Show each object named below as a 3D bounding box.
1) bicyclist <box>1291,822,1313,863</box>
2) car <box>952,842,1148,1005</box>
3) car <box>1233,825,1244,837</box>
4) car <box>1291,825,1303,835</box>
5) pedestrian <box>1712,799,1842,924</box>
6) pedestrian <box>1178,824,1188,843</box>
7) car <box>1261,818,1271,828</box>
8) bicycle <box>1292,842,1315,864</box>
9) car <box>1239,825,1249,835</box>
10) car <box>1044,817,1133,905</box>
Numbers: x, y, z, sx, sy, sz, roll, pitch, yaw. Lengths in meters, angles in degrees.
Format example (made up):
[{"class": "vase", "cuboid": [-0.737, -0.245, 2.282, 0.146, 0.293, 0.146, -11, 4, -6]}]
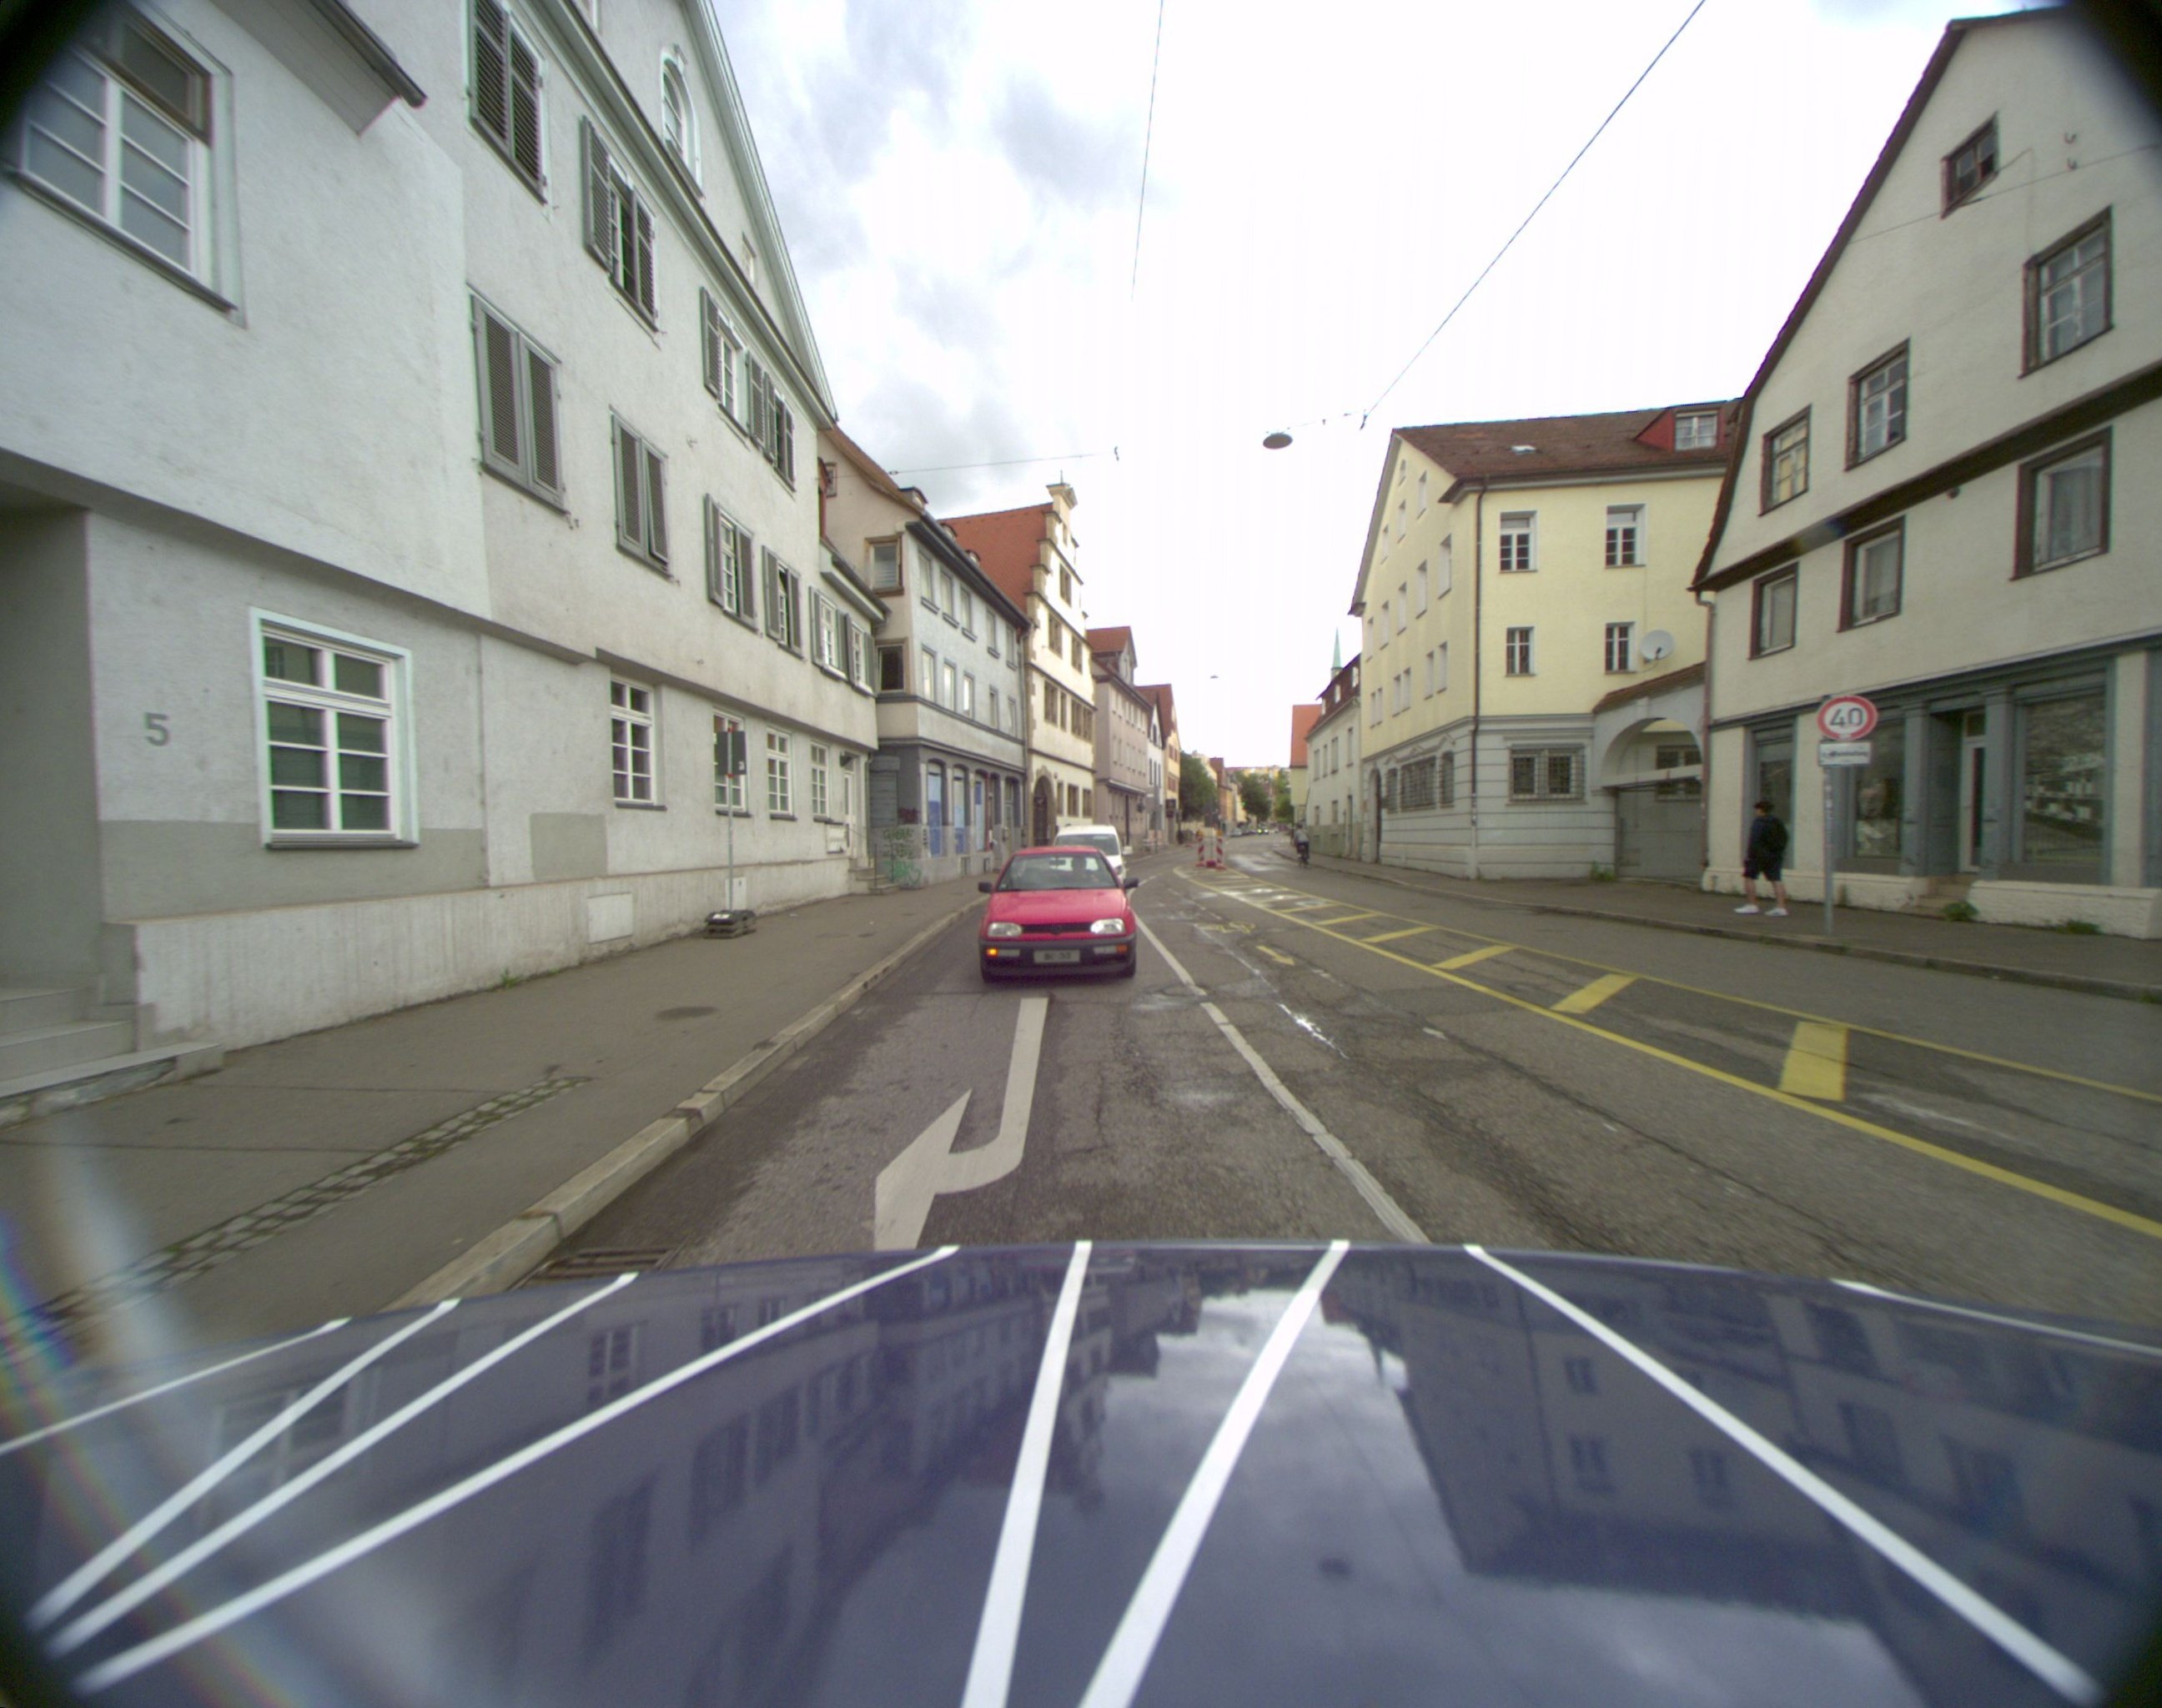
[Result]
[{"class": "bicyclist", "cuboid": [9.182, -0.485, 31.562, 0.725, 1.691, 0.811, 0, 2, 5]}, {"class": "car", "cuboid": [-0.265, 0.639, 9.291, 1.804, 1.458, 3.999, -3, 1, 1]}, {"class": "car", "cuboid": [28.789, -4.195, 138.932, 1.996, 2.002, 4.003, 0, 1, 13]}, {"class": "car", "cuboid": [43.218, -4.829, 151.942, 2.057, 2.002, 4.003, 0, 1, 13]}, {"class": "pedestrian", "cuboid": [11.131, 0.119, 12.209, 1.056, 1.875, 1.092, -2, 0, 4]}, {"class": "pedestrian", "cuboid": [10.495, -2.081, 78.053, 0.878, 1.889, 0.897, 0, 2, -1]}, {"class": "car", "cuboid": [40.110, -6.663, 164.961, 1.996, 2.002, 4.003, 0, 1, 13]}, {"class": "bicycle", "cuboid": [9.226, -0.041, 31.532, 0.542, 0.887, 1.880, 0, 1, 5]}, {"class": "car", "cuboid": [34.260, -5.020, 159.702, 1.996, 2.002, 4.003, 0, 1, 13]}, {"class": "car", "cuboid": [0.184, 0.111, 17.715, 1.804, 1.781, 4.348, -1, 1, 1]}]
